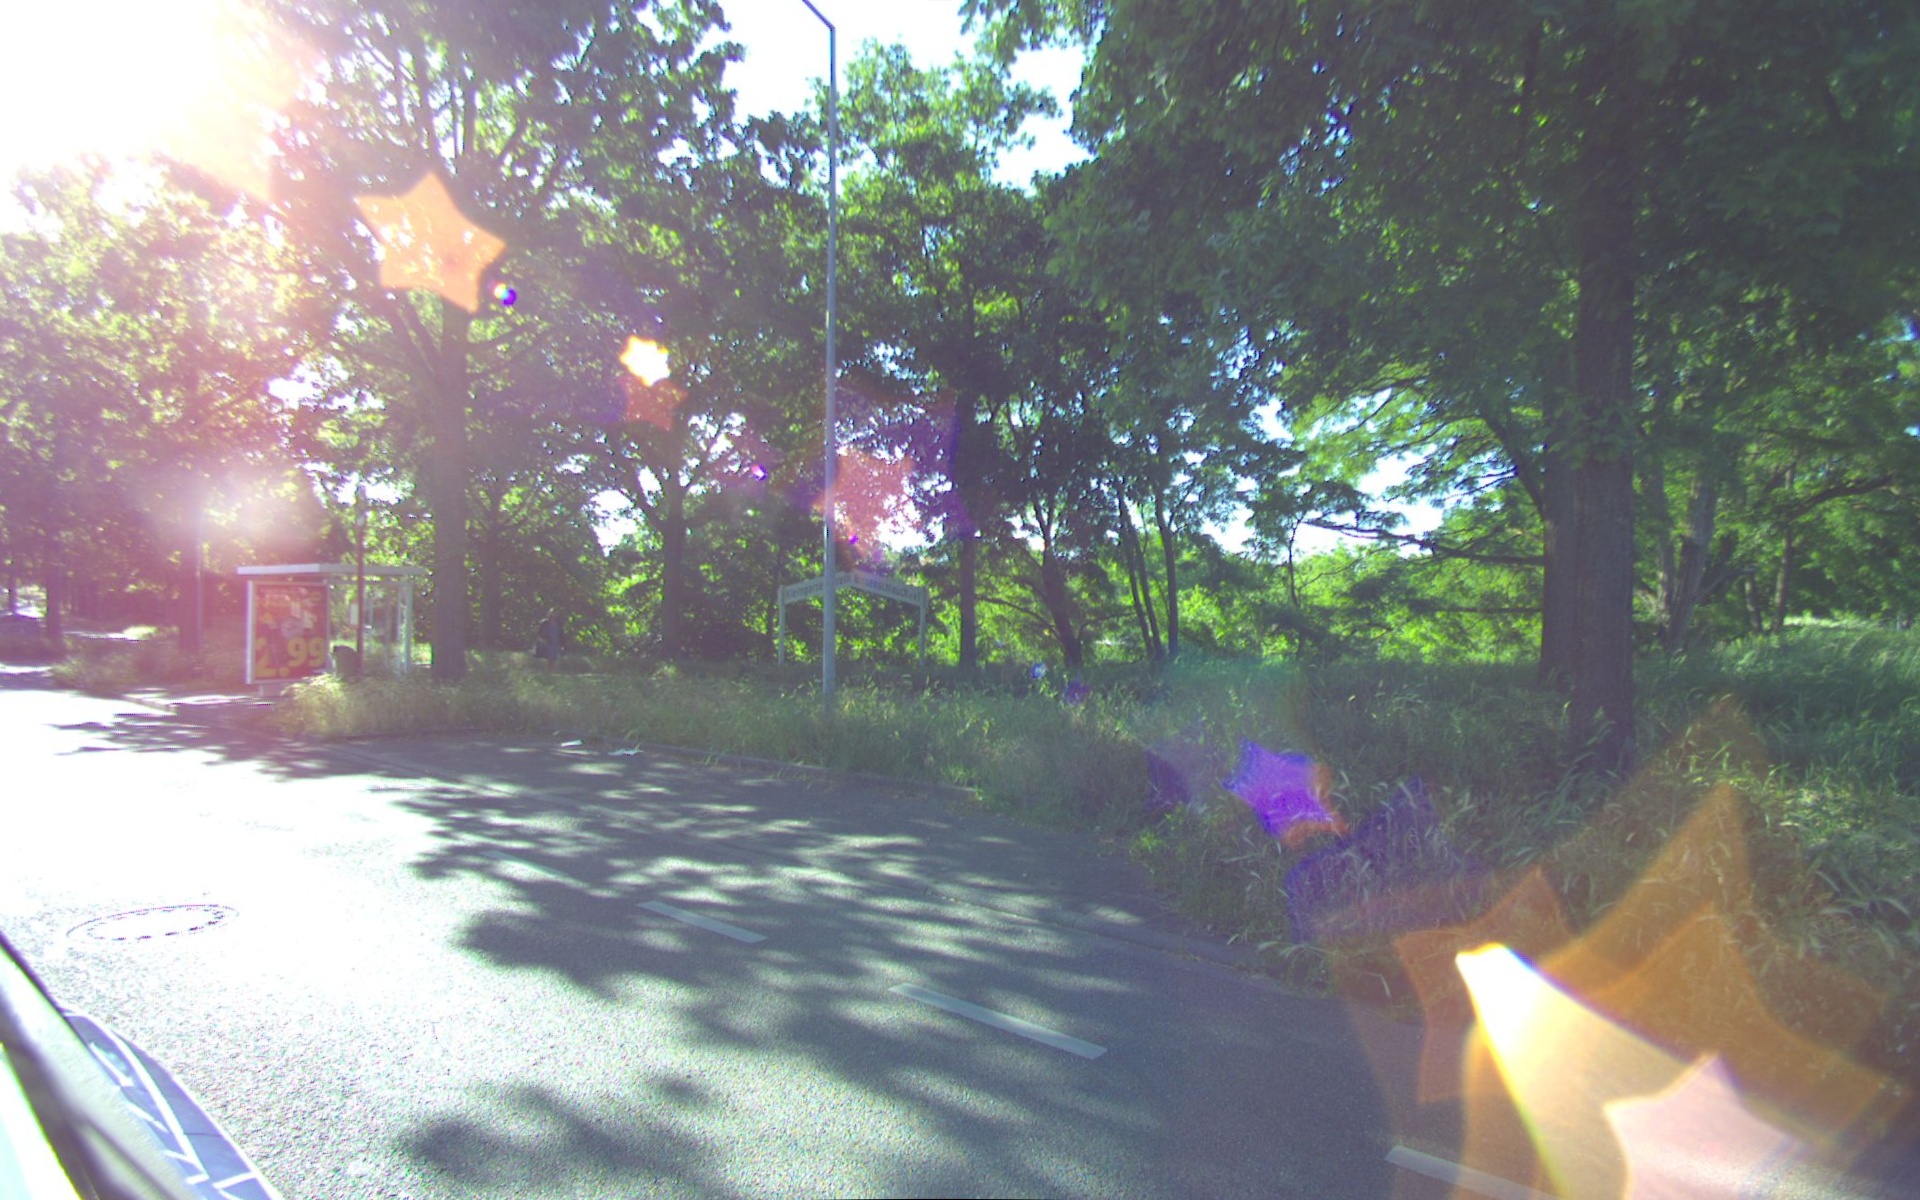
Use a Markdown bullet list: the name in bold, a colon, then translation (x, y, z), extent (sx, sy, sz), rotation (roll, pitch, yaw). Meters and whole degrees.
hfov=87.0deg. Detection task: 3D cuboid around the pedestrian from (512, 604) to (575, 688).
- **pedestrian**: translation (-8.769, 0.949, 21.298), extent (0.891, 1.701, 0.903), rotation (-2, -1, 42)
